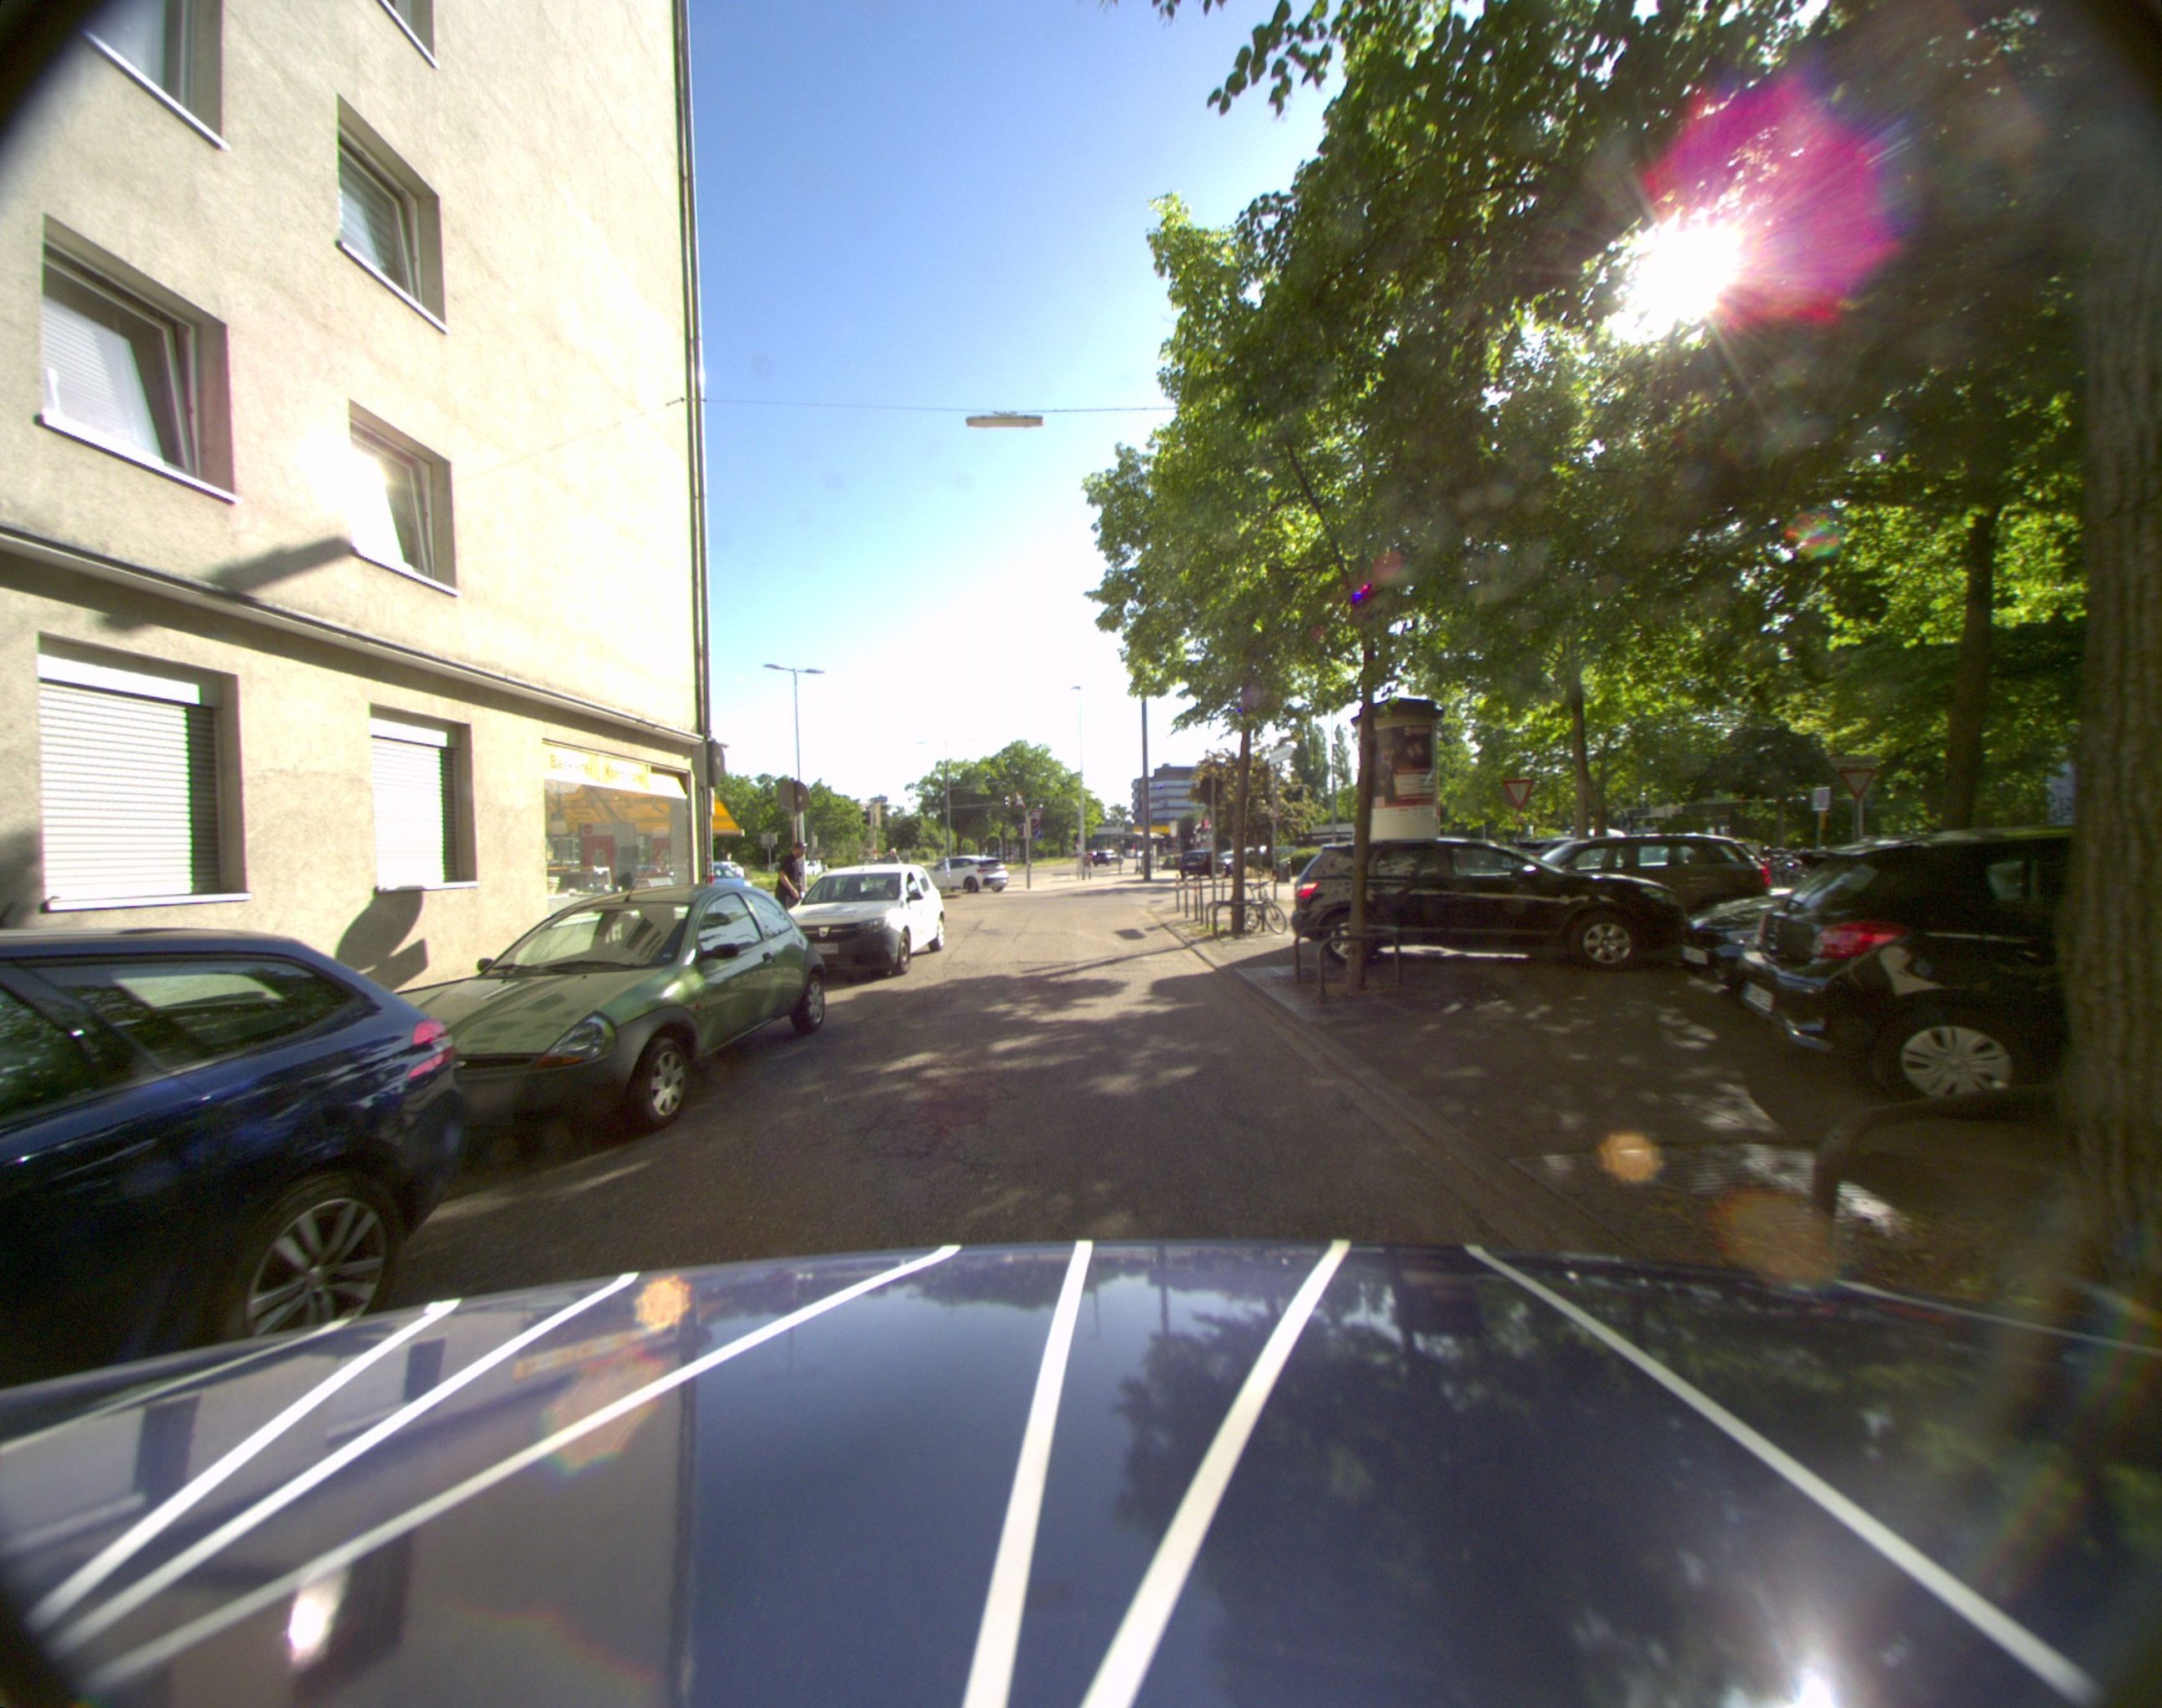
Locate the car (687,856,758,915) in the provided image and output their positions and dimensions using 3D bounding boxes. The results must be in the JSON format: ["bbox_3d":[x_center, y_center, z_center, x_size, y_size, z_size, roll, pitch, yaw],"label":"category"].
[{"bbox_3d":[-12.359,0.997,26.070,1.876,1.765,4.475,-2,1,-29],"label":"car"}]

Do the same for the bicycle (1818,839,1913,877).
[{"bbox_3d":[22.587,0.107,21.932,0.448,1.025,2.033,-2,0,-8],"label":"bicycle"}]

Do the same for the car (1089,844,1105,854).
[{"bbox_3d":[2.575,-0.871,121.849,1.997,1.543,4.488,-2,1,10],"label":"car"}]

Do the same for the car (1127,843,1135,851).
[{"bbox_3d":[13.748,-1.935,209.701,1.998,2.002,4.000,-2,1,1],"label":"car"}]

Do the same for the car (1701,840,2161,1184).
[{"bbox_3d":[5.755,0.684,3.819,3.814,1.472,1.764,-2,1,29],"label":"car"}]

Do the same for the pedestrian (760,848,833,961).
[{"bbox_3d":[-4.485,0.776,12.030,0.760,1.712,0.745,-2,1,6],"label":"pedestrian"}]

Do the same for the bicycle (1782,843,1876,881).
[{"bbox_3d":[21.488,0.228,21.886,0.469,1.025,2.033,-2,0,-8],"label":"bicycle"}]

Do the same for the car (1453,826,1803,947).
[{"bbox_3d":[8.018,0.455,11.650,3.991,1.601,1.925,-1,1,21],"label":"car"}]

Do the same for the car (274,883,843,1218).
[{"bbox_3d":[-3.201,1.065,5.662,1.600,1.455,3.672,-2,1,1],"label":"car"}]

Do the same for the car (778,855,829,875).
[{"bbox_3d":[-22.334,0.854,61.378,1.871,1.447,4.487,-2,1,8],"label":"car"}]

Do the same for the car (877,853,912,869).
[{"bbox_3d":[-19.271,0.682,78.703,1.871,1.447,4.487,-2,1,8],"label":"car"}]

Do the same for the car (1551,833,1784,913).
[{"bbox_3d":[12.815,0.349,17.026,1.907,1.510,4.300,-2,1,0],"label":"car"}]

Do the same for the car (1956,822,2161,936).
[{"bbox_3d":[15.399,0.313,10.629,1.758,1.503,3.948,-2,1,0],"label":"car"}]

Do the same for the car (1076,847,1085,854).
[{"bbox_3d":[-0.125,-0.965,187.332,1.999,1.652,4.483,-2,1,-3],"label":"car"}]

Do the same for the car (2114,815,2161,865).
[{"bbox_3d":[32.593,-0.438,21.785,1.623,1.472,3.251,-2,1,-25],"label":"car"}]

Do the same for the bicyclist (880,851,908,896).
[{"bbox_3d":[-6.748,0.686,27.412,0.829,1.555,0.595,-2,1,-22],"label":"bicyclist"}]

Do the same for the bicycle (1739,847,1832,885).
[{"bbox_3d":[20.210,0.319,21.867,0.571,1.025,2.033,-2,0,-8],"label":"bicycle"}]

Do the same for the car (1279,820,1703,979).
[{"bbox_3d":[4.995,0.575,9.770,4.326,1.661,1.840,-4,0,30],"label":"car"}]

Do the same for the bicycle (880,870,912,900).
[{"bbox_3d":[-6.712,1.098,27.431,0.830,0.981,1.942,-2,1,-22],"label":"bicycle"}]

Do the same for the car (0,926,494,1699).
[{"bbox_3d":[-3.107,1.064,0.745,1.807,1.455,4.438,-2,1,-5],"label":"car"}]

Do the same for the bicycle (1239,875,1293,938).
[{"bbox_3d":[3.482,0.955,14.420,0.354,1.066,1.591,-2,1,-10],"label":"bicycle"}]

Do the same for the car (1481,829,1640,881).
[{"bbox_3d":[16.291,0.019,25.915,4.485,1.543,1.904,-2,1,-11],"label":"car"}]

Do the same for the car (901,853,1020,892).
[{"bbox_3d":[-5.234,0.807,32.722,5.023,1.510,1.927,-2,1,34],"label":"car"}]

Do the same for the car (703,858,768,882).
[{"bbox_3d":[-23.354,1.057,51.552,1.871,1.447,4.487,-2,1,8],"label":"car"}]

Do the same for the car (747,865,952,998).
[{"bbox_3d":[-3.191,0.983,11.369,1.723,1.489,4.022,-2,1,1],"label":"car"}]

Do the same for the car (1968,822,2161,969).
[{"bbox_3d":[11.972,0.408,7.448,1.759,1.478,3.946,-2,1,-7],"label":"car"}]

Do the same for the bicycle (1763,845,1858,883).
[{"bbox_3d":[20.926,0.266,21.848,0.571,1.025,2.033,-2,0,-8],"label":"bicycle"}]

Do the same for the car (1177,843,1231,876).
[{"bbox_3d":[6.573,0.266,40.240,1.680,1.499,3.602,-4,0,28],"label":"car"}]

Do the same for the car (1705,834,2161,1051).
[{"bbox_3d":[7.628,0.593,5.898,3.940,1.414,1.824,-2,1,24],"label":"car"}]
